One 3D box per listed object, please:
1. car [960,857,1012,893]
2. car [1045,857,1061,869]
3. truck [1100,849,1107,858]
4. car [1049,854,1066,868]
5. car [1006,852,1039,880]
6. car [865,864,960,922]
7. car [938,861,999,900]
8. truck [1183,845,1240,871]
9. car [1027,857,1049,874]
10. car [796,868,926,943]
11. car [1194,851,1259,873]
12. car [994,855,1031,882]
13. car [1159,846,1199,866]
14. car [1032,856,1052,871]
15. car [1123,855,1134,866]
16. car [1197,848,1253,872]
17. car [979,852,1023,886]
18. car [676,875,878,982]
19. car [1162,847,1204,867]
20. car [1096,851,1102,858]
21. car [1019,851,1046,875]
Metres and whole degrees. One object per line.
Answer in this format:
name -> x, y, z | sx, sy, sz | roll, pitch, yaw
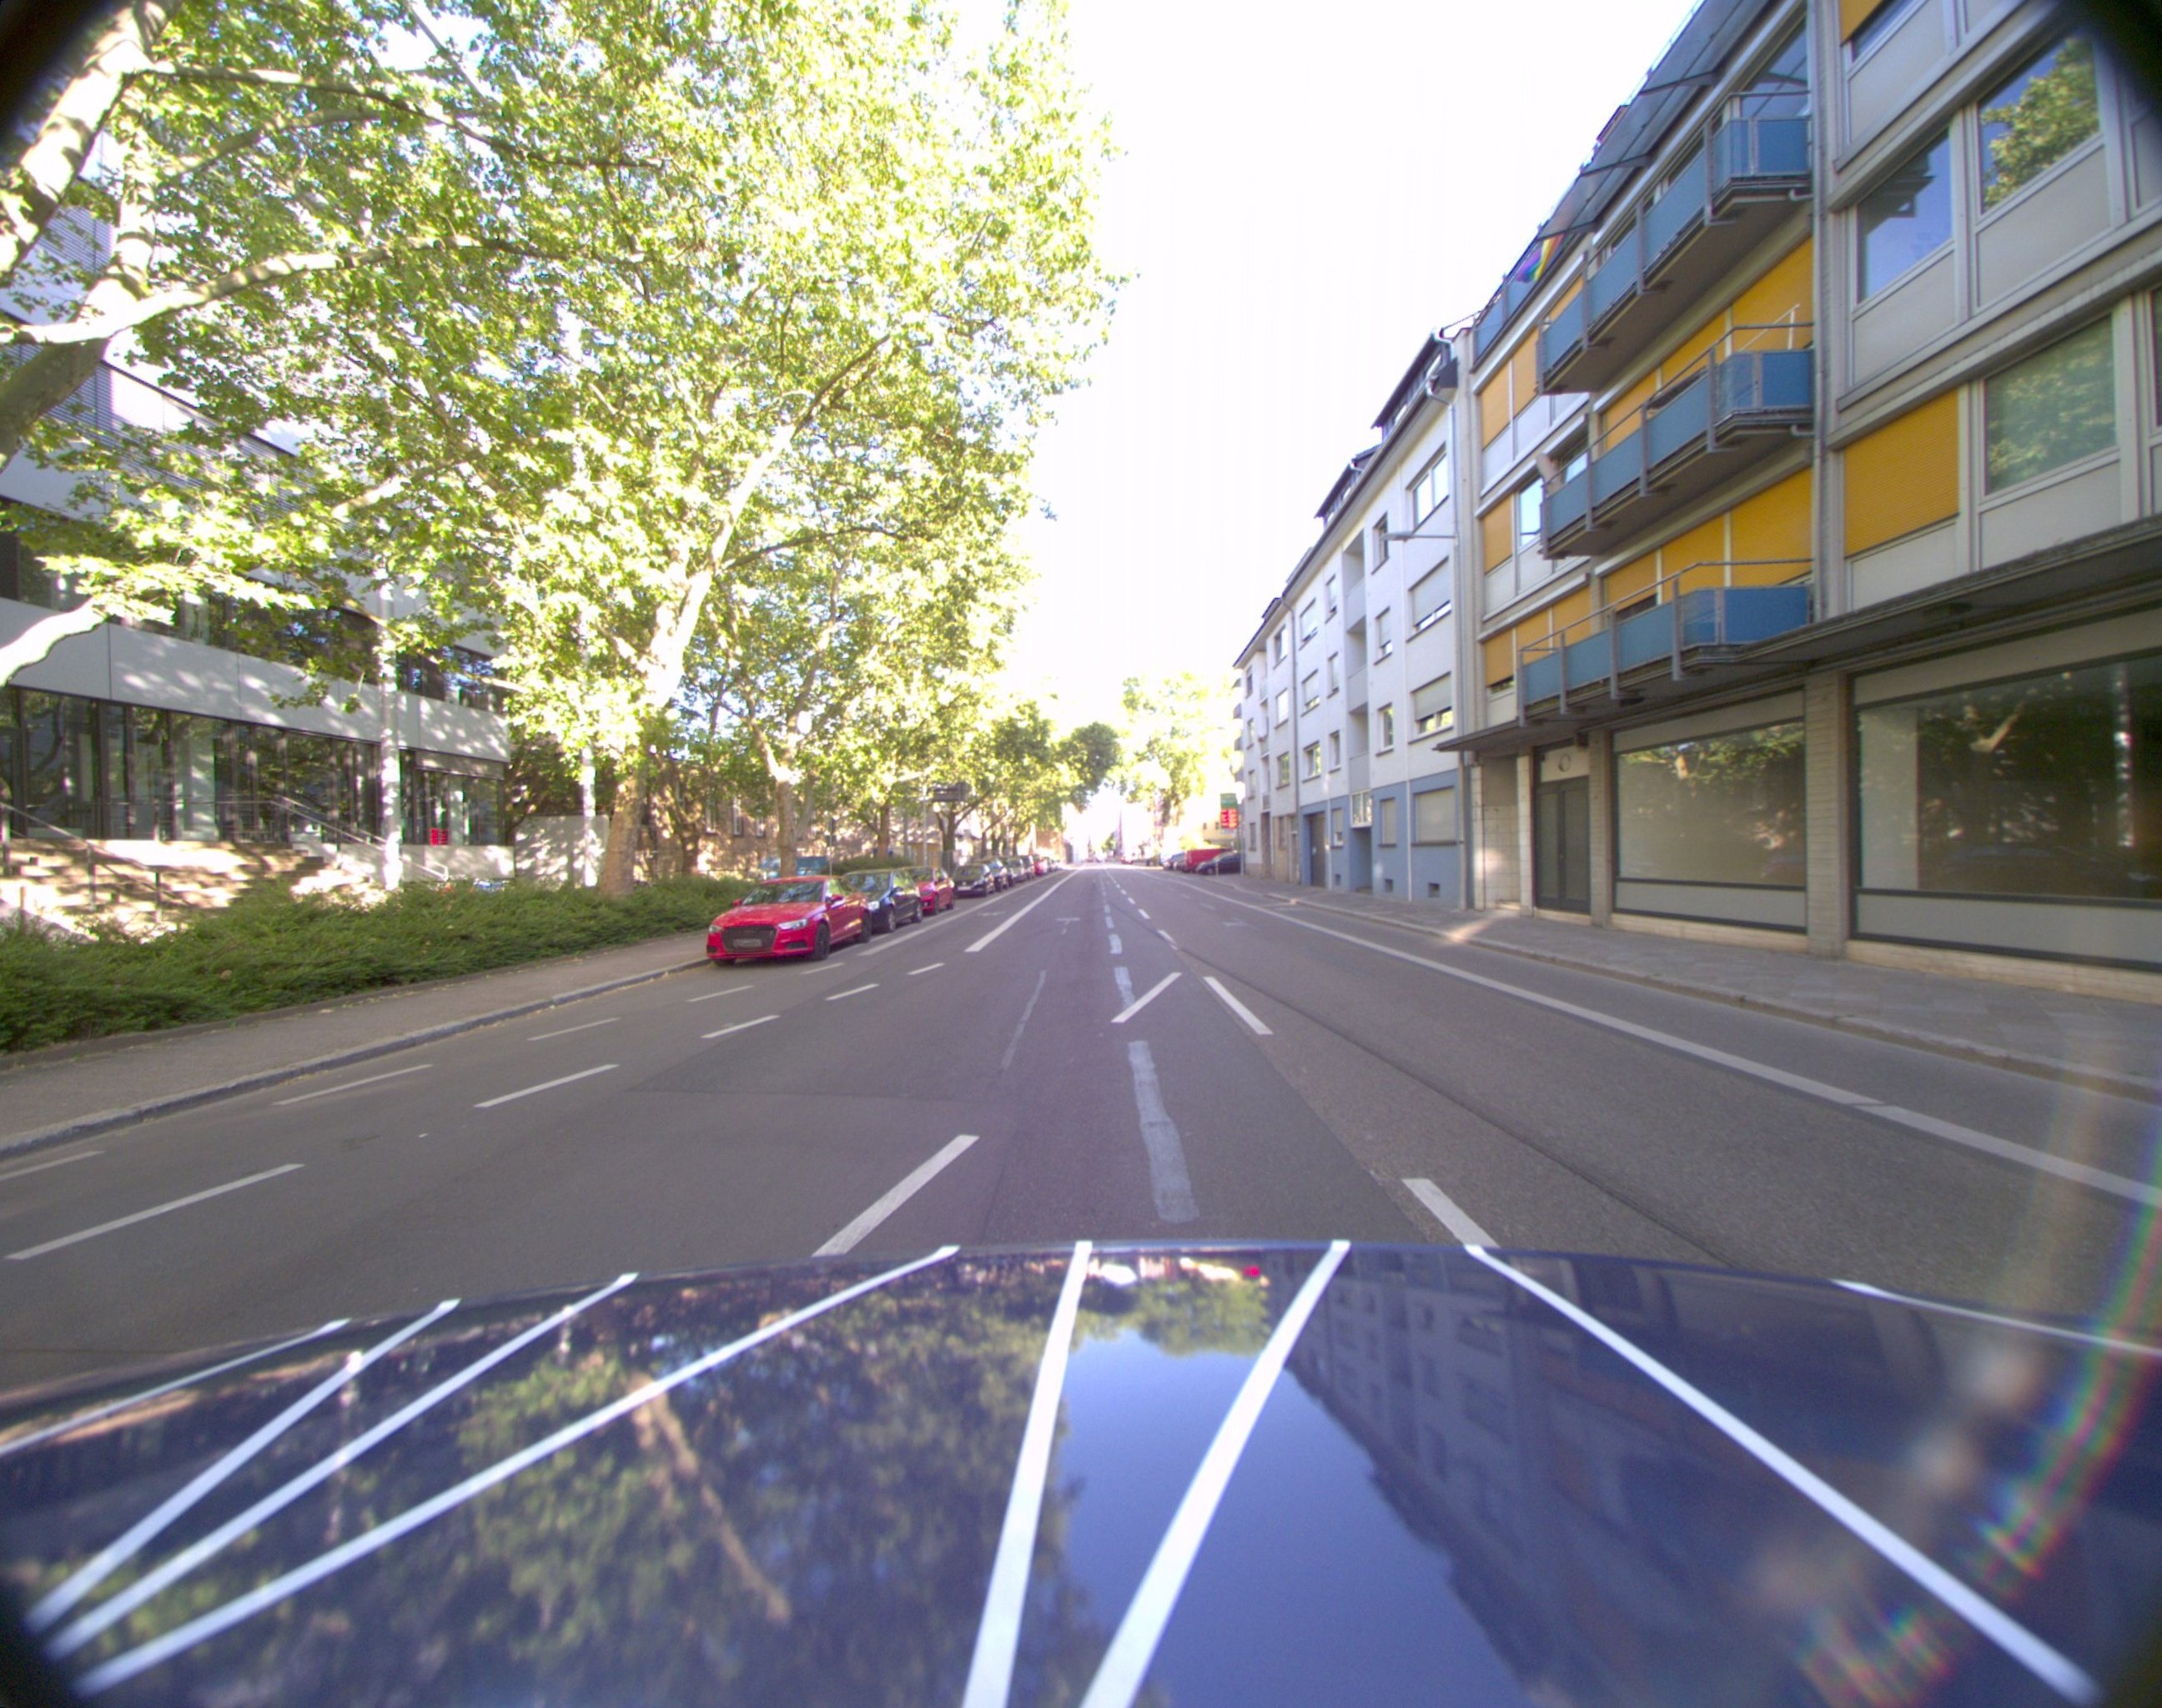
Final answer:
car -> -4.682, 1.001, 38.119 | 1.998, 1.592, 4.142 | -2, 1, 1
car -> -3.345, 1.065, 92.734 | 1.693, 1.364, 3.999 | -2, 1, 1
truck -> 6.877, -0.304, 233.820 | 1.998, 2.653, 5.314 | -2, 1, 0
car -> -3.183, 0.901, 103.005 | 1.998, 1.682, 3.999 | -2, 1, 1
car -> -4.244, 0.839, 55.606 | 1.998, 1.838, 3.999 | -2, 1, 1
car -> -5.126, 1.144, 23.668 | 1.998, 1.490, 3.828 | -2, 1, 1
car -> -4.836, 1.125, 33.175 | 1.998, 1.447, 3.589 | -2, 1, 1
truck -> 10.289, 0.312, 60.210 | 4.092, 1.913, 2.000 | -2, 1, 0
car -> -4.034, 1.077, 71.993 | 1.824, 1.466, 3.999 | -2, 1, 1
car -> -5.169, 1.163, 18.392 | 1.998, 1.452, 3.644 | -2, 1, 1
car -> 10.458, 0.564, 54.779 | 4.324, 1.398, 1.658 | -2, 1, 0
car -> -4.546, 0.938, 50.895 | 1.998, 1.557, 4.142 | -2, 1, 1
car -> 10.951, 0.209, 85.310 | 4.236, 2.025, 2.000 | -2, 1, 3
car -> -4.136, 0.983, 80.745 | 1.824, 1.466, 3.999 | -2, 1, 1
car -> 7.856, 1.005, 126.154 | 1.847, 1.668, 4.000 | -1, 1, 3
car -> 10.803, 0.443, 57.111 | 3.810, 1.563, 1.658 | -2, 1, 0
car -> -4.605, 0.834, 44.513 | 1.998, 1.777, 4.572 | -2, 1, 1
car -> -5.185, 1.192, 13.634 | 1.907, 1.417, 3.999 | -2, 1, 1
car -> 10.865, 0.275, 80.909 | 4.236, 1.945, 2.000 | -2, 1, 3
car -> 6.165, 0.182, 259.451 | 1.998, 2.002, 3.999 | -2, 1, 1
car -> -4.221, 0.751, 66.362 | 1.998, 1.960, 3.999 | -2, 1, 1
